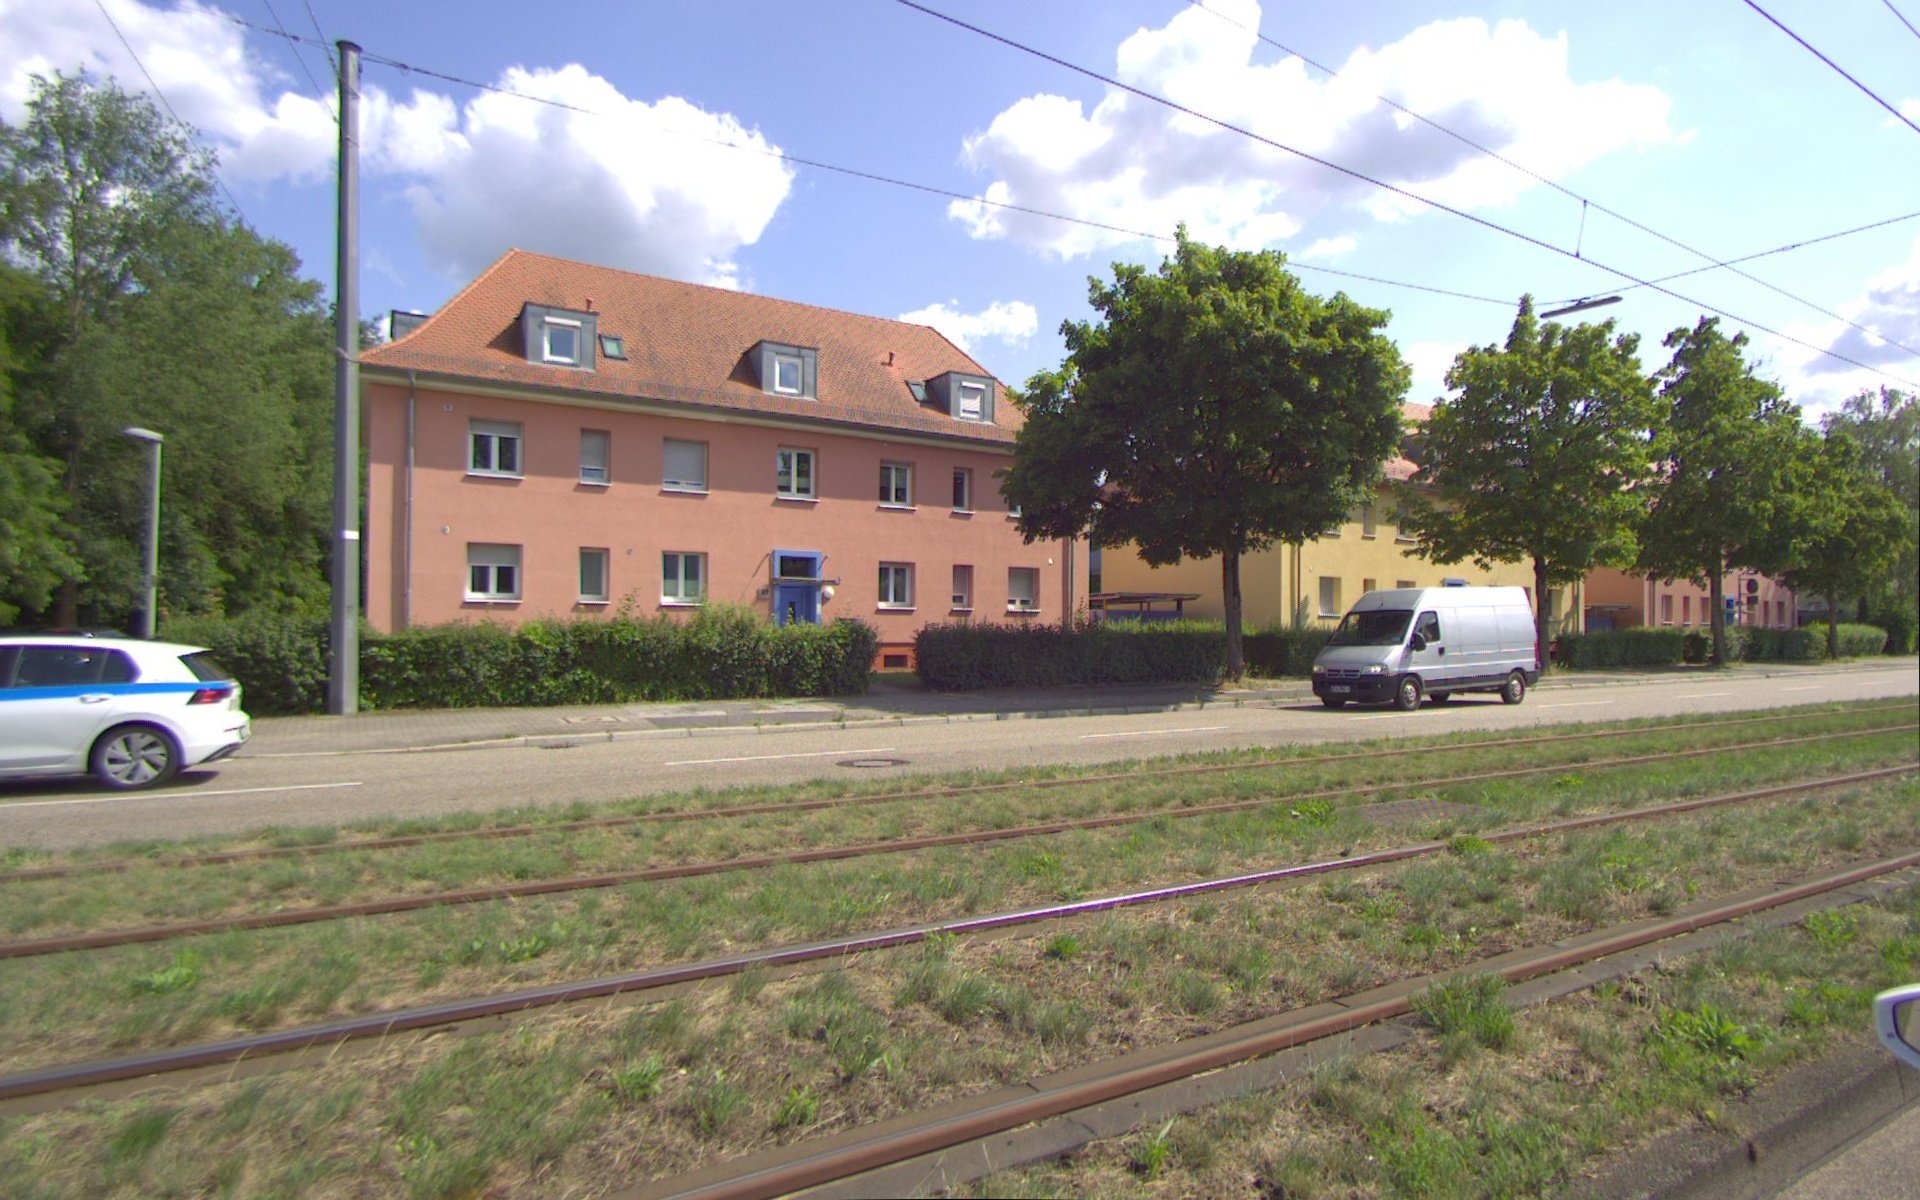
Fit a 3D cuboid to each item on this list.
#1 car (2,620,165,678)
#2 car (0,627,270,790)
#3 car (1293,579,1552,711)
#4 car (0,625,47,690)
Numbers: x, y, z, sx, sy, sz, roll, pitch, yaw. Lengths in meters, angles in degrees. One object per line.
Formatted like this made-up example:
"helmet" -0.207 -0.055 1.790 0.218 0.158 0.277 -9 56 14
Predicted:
"car" -23.088 1.244 26.639 1.819 1.424 3.631 1 -1 -15
"car" -9.225 0.984 9.569 4.227 1.450 1.677 1 -1 -31
"car" 9.819 0.935 21.178 5.710 2.468 2.023 1 -3 -30
"car" -21.753 1.244 21.485 1.819 1.424 3.631 1 -1 -15
